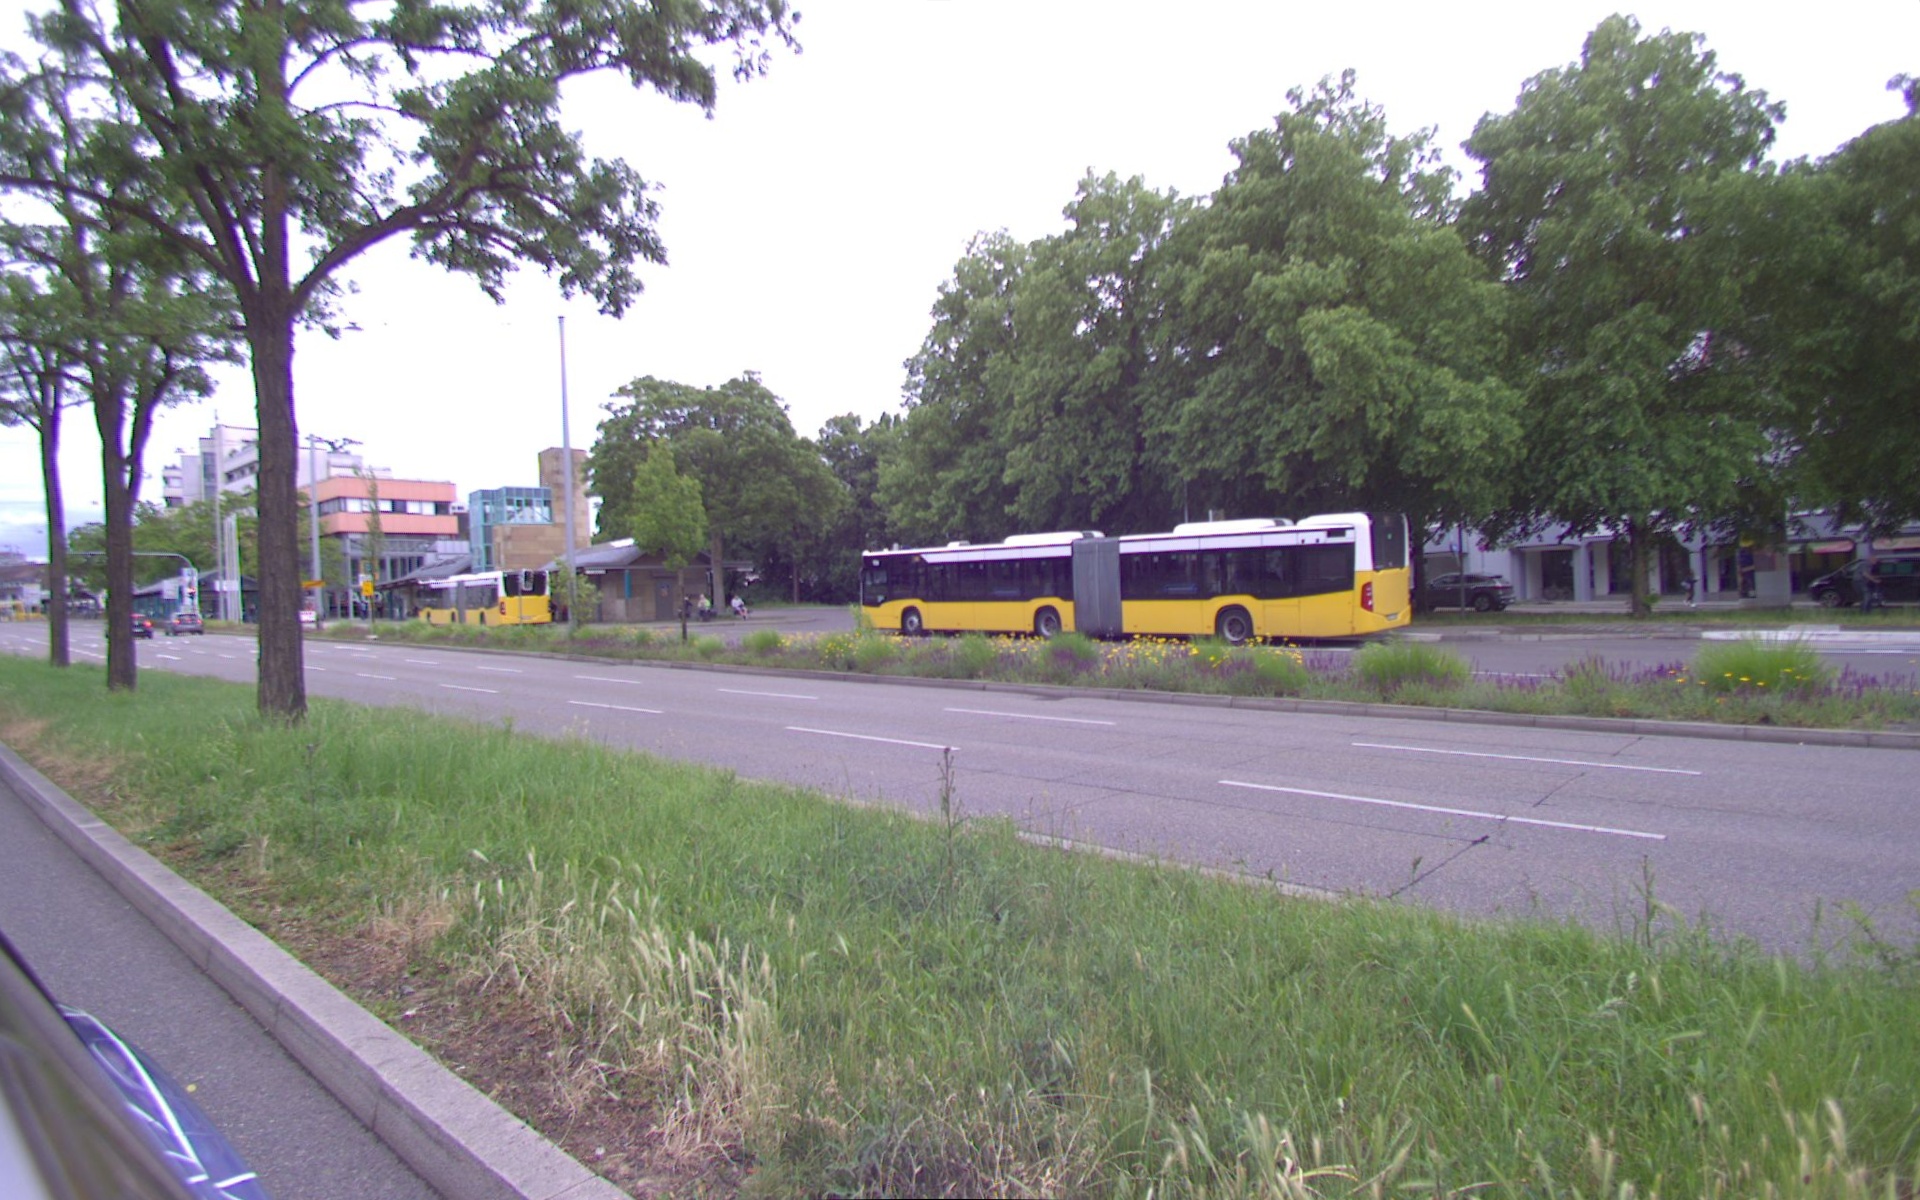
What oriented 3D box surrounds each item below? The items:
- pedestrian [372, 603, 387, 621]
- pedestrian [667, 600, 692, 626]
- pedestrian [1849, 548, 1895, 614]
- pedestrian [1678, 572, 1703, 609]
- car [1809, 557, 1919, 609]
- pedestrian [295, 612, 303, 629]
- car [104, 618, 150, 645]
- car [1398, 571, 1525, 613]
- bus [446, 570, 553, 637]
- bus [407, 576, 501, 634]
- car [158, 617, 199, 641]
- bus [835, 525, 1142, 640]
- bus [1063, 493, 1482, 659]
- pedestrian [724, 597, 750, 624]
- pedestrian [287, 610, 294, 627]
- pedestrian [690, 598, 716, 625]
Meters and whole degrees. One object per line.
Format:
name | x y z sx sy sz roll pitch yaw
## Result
pedestrian | -48.535 1.037 84.616 0.975 1.472 0.593 -2 0 -32
pedestrian | -14.144 0.649 51.048 0.887 1.264 0.854 -2 0 14
pedestrian | 24.198 -0.495 26.858 0.857 1.701 0.450 -2 0 41
pedestrian | 31.299 -0.394 43.360 0.649 1.559 0.668 -1 0 -41
car | 35.039 -0.643 37.725 1.967 1.846 4.829 -1 0 -34
pedestrian | -60.956 1.915 93.377 0.382 1.559 0.479 -2 0 34
car | -51.075 1.899 62.054 3.768 1.519 1.641 -1 0 43
car | 20.599 -0.330 41.677 1.970 1.593 4.251 -1 0 -44
bus | -24.949 0.216 54.514 2.774 3.155 9.316 -4 2 -39
bus | -30.909 0.352 61.618 2.742 3.155 9.452 -4 2 -41
car | -53.217 1.927 68.874 1.794 1.519 4.004 -1 0 -43
bus | 0.523 -0.415 32.882 10.741 3.186 3.049 -1 0 45
bus | 7.456 -0.494 25.823 2.996 3.481 9.918 -4 2 -44
pedestrian | -11.059 0.520 50.237 0.858 1.264 0.883 -2 0 43
pedestrian | -61.543 1.690 93.027 0.521 1.559 0.756 -2 0 -32
pedestrian | -12.568 0.564 49.578 0.888 1.300 0.853 -2 0 18
